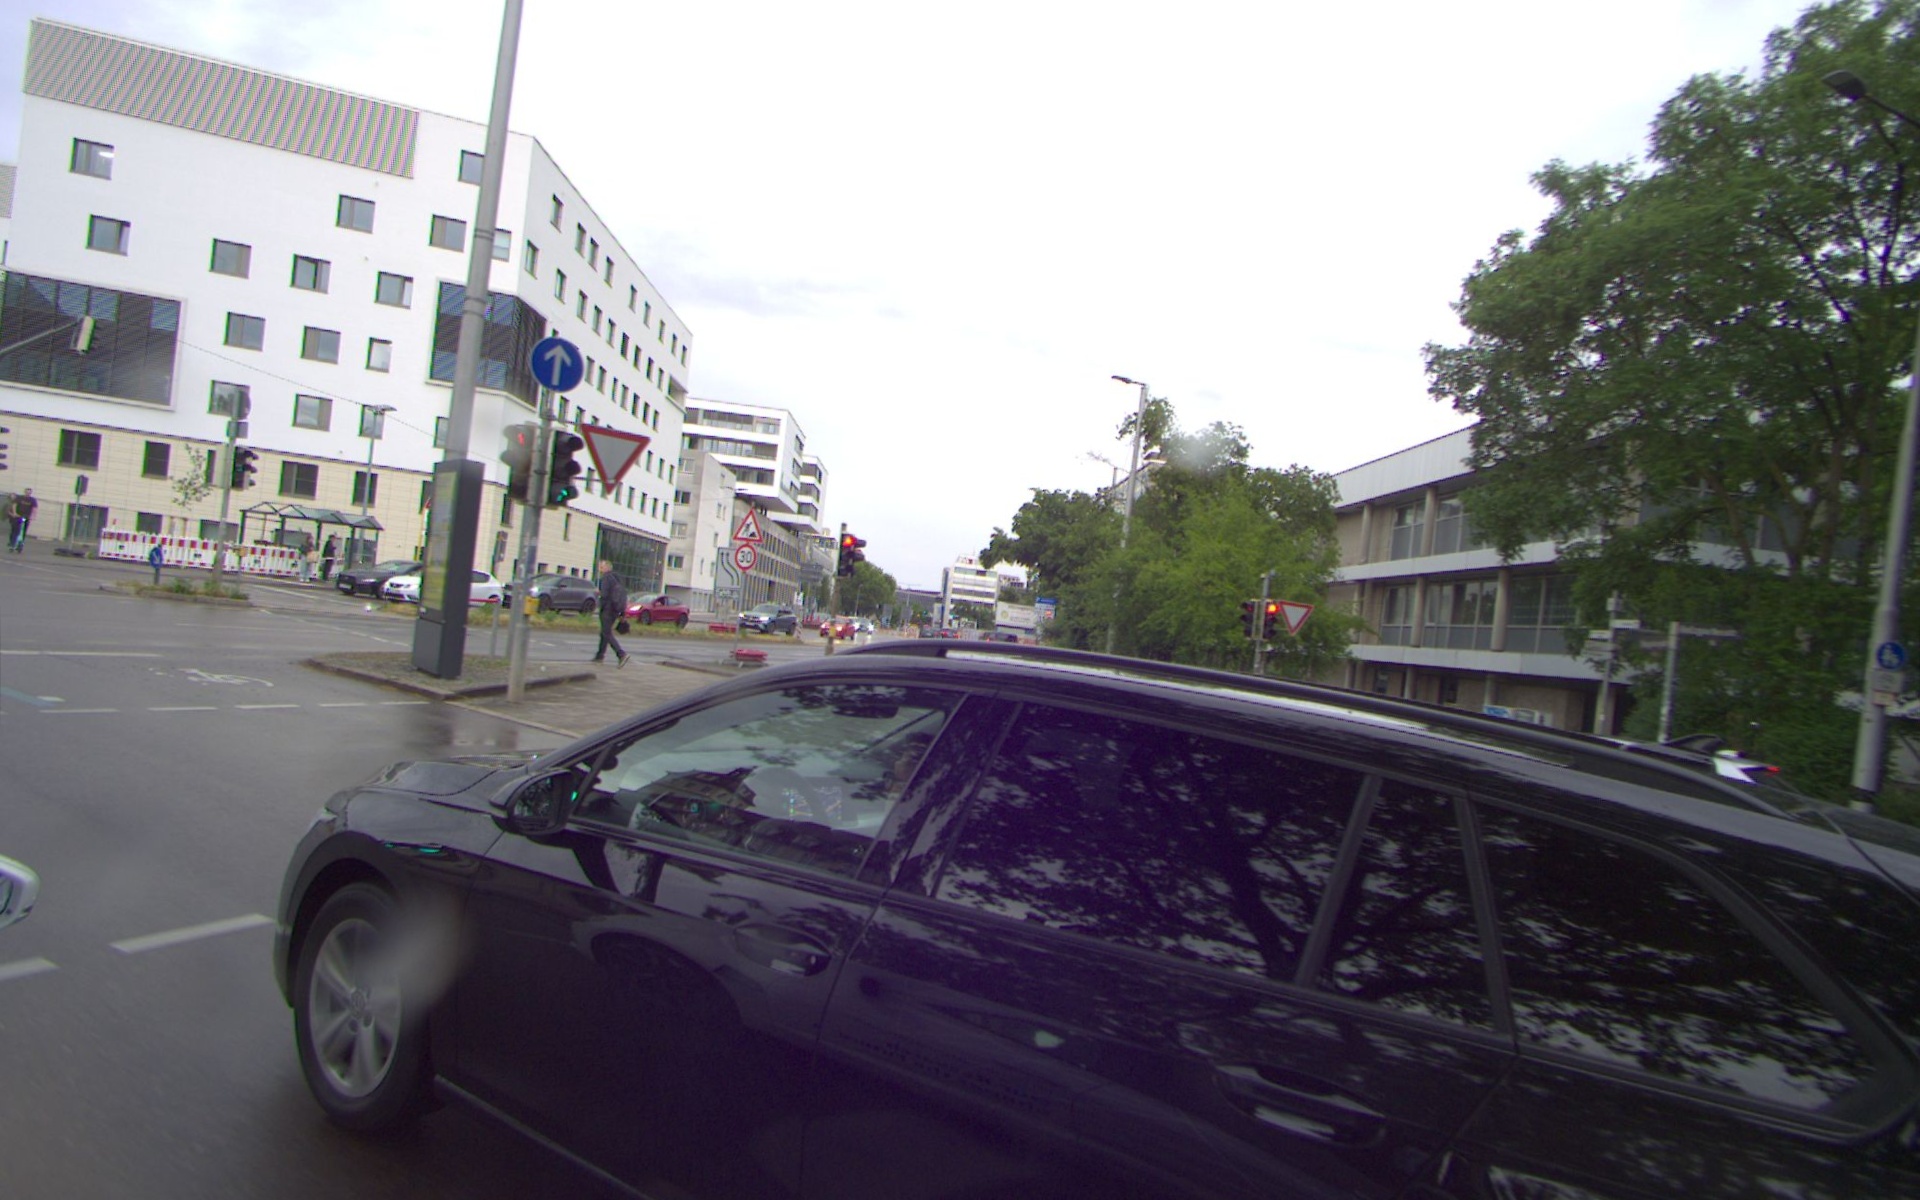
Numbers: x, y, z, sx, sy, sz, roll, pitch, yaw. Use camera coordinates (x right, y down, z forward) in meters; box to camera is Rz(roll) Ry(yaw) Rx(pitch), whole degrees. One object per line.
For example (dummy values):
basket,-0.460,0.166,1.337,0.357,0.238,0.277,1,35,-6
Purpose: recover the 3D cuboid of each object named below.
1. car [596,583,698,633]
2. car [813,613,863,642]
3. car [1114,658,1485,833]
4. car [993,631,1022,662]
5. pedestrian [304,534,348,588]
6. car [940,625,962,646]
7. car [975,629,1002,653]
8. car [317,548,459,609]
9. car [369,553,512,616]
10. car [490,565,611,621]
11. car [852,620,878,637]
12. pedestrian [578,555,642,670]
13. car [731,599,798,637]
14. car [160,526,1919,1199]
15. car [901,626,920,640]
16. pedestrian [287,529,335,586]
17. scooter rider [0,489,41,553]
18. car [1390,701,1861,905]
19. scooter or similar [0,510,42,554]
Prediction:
car,-13.544,0.377,43.850,1.929,1.574,4.537,7,-3,16
car,-8.175,1.871,67.622,1.929,1.465,4.167,7,-3,12
car,3.972,1.692,12.423,1.849,1.466,3.969,8,-3,-31
car,3.440,3.320,72.327,1.764,1.930,4.313,8,-1,4
pedestrian,-24.569,-1.509,38.999,0.941,1.957,1.001,4,-3,41
car,-0.878,3.475,98.822,1.765,1.725,4.688,8,-1,-3
car,2.602,3.772,92.059,1.964,1.829,4.790,8,-2,-1
car,-19.656,-0.693,34.786,1.764,1.459,4.006,7,-3,17
car,-17.059,-0.452,33.284,1.764,1.459,4.006,7,-3,17
car,-17.104,-0.254,42.259,1.964,1.683,4.389,7,-3,26
car,-9.545,2.843,101.137,1.935,1.465,4.153,8,-3,-12
pedestrian,-6.236,0.231,17.990,0.818,1.913,1.025,7,-2,-17
car,-10.535,1.005,54.512,1.929,1.553,4.167,7,-3,12
car,-0.047,0.824,2.630,4.437,1.483,1.673,7,-1,31
car,-6.846,4.553,137.742,1.837,1.668,4.774,7,-3,-9
pedestrian,-23.511,-1.531,36.460,0.808,1.860,0.955,6,-2,21
scooter rider,-30.242,-2.522,32.272,0.619,1.904,0.727,6,-2,12
car,7.888,2.316,12.337,1.853,1.466,4.361,9,-2,-36
scooter or similar,-30.360,-2.189,32.243,1.288,1.252,0.594,6,-2,11
